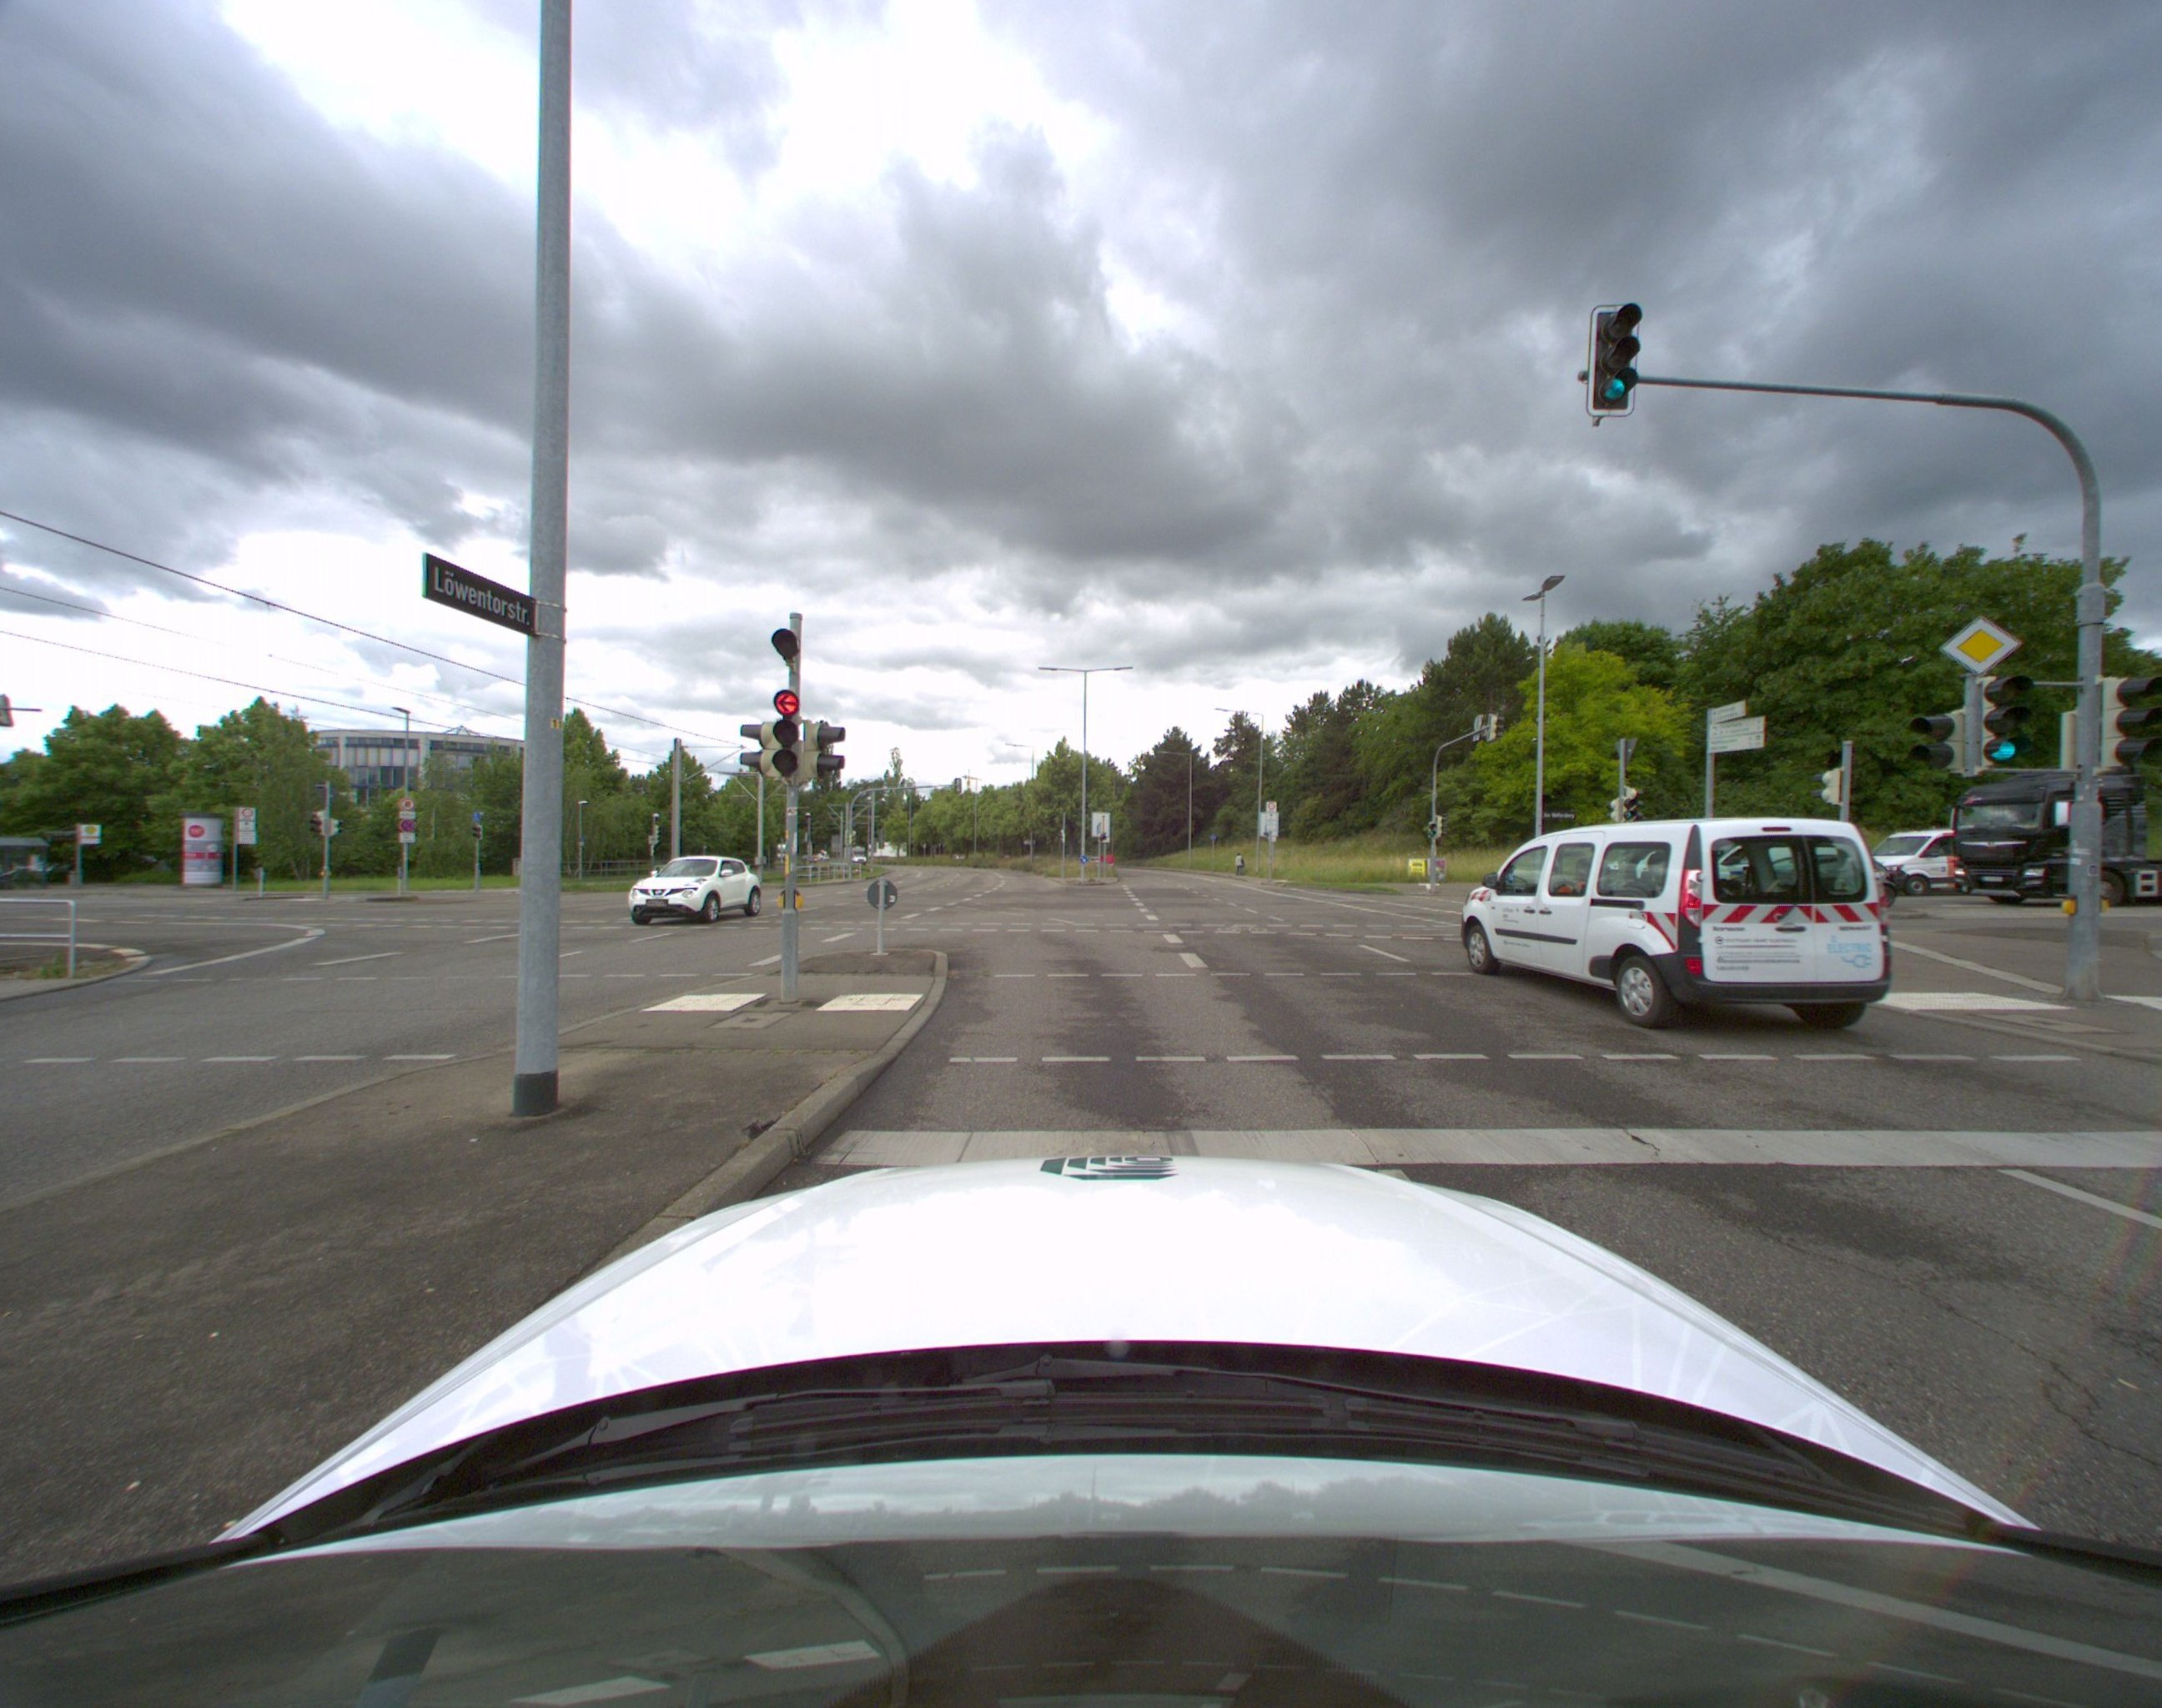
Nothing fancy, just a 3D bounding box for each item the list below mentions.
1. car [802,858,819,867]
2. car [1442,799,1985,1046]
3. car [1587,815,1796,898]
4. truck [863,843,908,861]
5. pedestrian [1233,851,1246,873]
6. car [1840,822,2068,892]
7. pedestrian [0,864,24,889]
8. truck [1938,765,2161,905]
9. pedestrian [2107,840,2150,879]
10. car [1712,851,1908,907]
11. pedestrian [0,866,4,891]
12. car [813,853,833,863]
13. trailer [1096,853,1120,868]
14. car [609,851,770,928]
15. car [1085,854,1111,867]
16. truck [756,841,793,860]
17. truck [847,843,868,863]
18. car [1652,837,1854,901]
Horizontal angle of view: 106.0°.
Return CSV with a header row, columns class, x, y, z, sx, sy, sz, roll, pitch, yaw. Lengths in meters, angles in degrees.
class,x,y,z,sx,sy,sz,roll,pitch,yaw
car,-50.448,1.596,151.780,1.794,1.446,4.479,-3,2,-36
car,5.761,0.535,8.472,1.987,1.802,4.841,-1,-1,2
car,21.901,0.094,29.414,5.870,2.781,2.136,-1,0,2
truck,-37.843,-0.392,156.928,11.263,3.328,2.765,0,0,44
pedestrian,11.475,0.571,58.975,0.811,1.627,0.791,0,0,1
car,30.686,0.109,28.769,5.677,2.289,2.136,-1,0,2
pedestrian,-56.410,1.184,42.890,0.774,1.304,0.666,0,0,15
truck,27.938,-0.516,22.275,6.027,3.538,2.729,-1,0,2
pedestrian,44.843,0.235,34.858,0.786,1.676,0.816,0,0,-1
car,20.283,0.668,22.777,3.905,1.436,1.732,-1,0,1
pedestrian,-57.739,1.297,43.080,0.774,1.303,0.666,0,0,15
car,-53.937,0.764,170.178,3.948,2.014,2.013,-1,-1,38
trailer,2.975,0.714,89.643,1.768,1.616,3.027,-1,0,-16
car,-9.322,0.761,19.862,1.824,1.629,4.423,-1,0,-1
car,1.955,0.776,93.220,1.782,1.421,4.434,-1,0,-16
truck,-63.914,-0.638,169.360,3.075,3.760,12.661,0,-1,-41
truck,-36.860,-0.117,134.106,2.127,3.135,5.848,0,-1,-27
car,21.595,0.457,26.334,4.836,1.896,2.034,-1,0,1
